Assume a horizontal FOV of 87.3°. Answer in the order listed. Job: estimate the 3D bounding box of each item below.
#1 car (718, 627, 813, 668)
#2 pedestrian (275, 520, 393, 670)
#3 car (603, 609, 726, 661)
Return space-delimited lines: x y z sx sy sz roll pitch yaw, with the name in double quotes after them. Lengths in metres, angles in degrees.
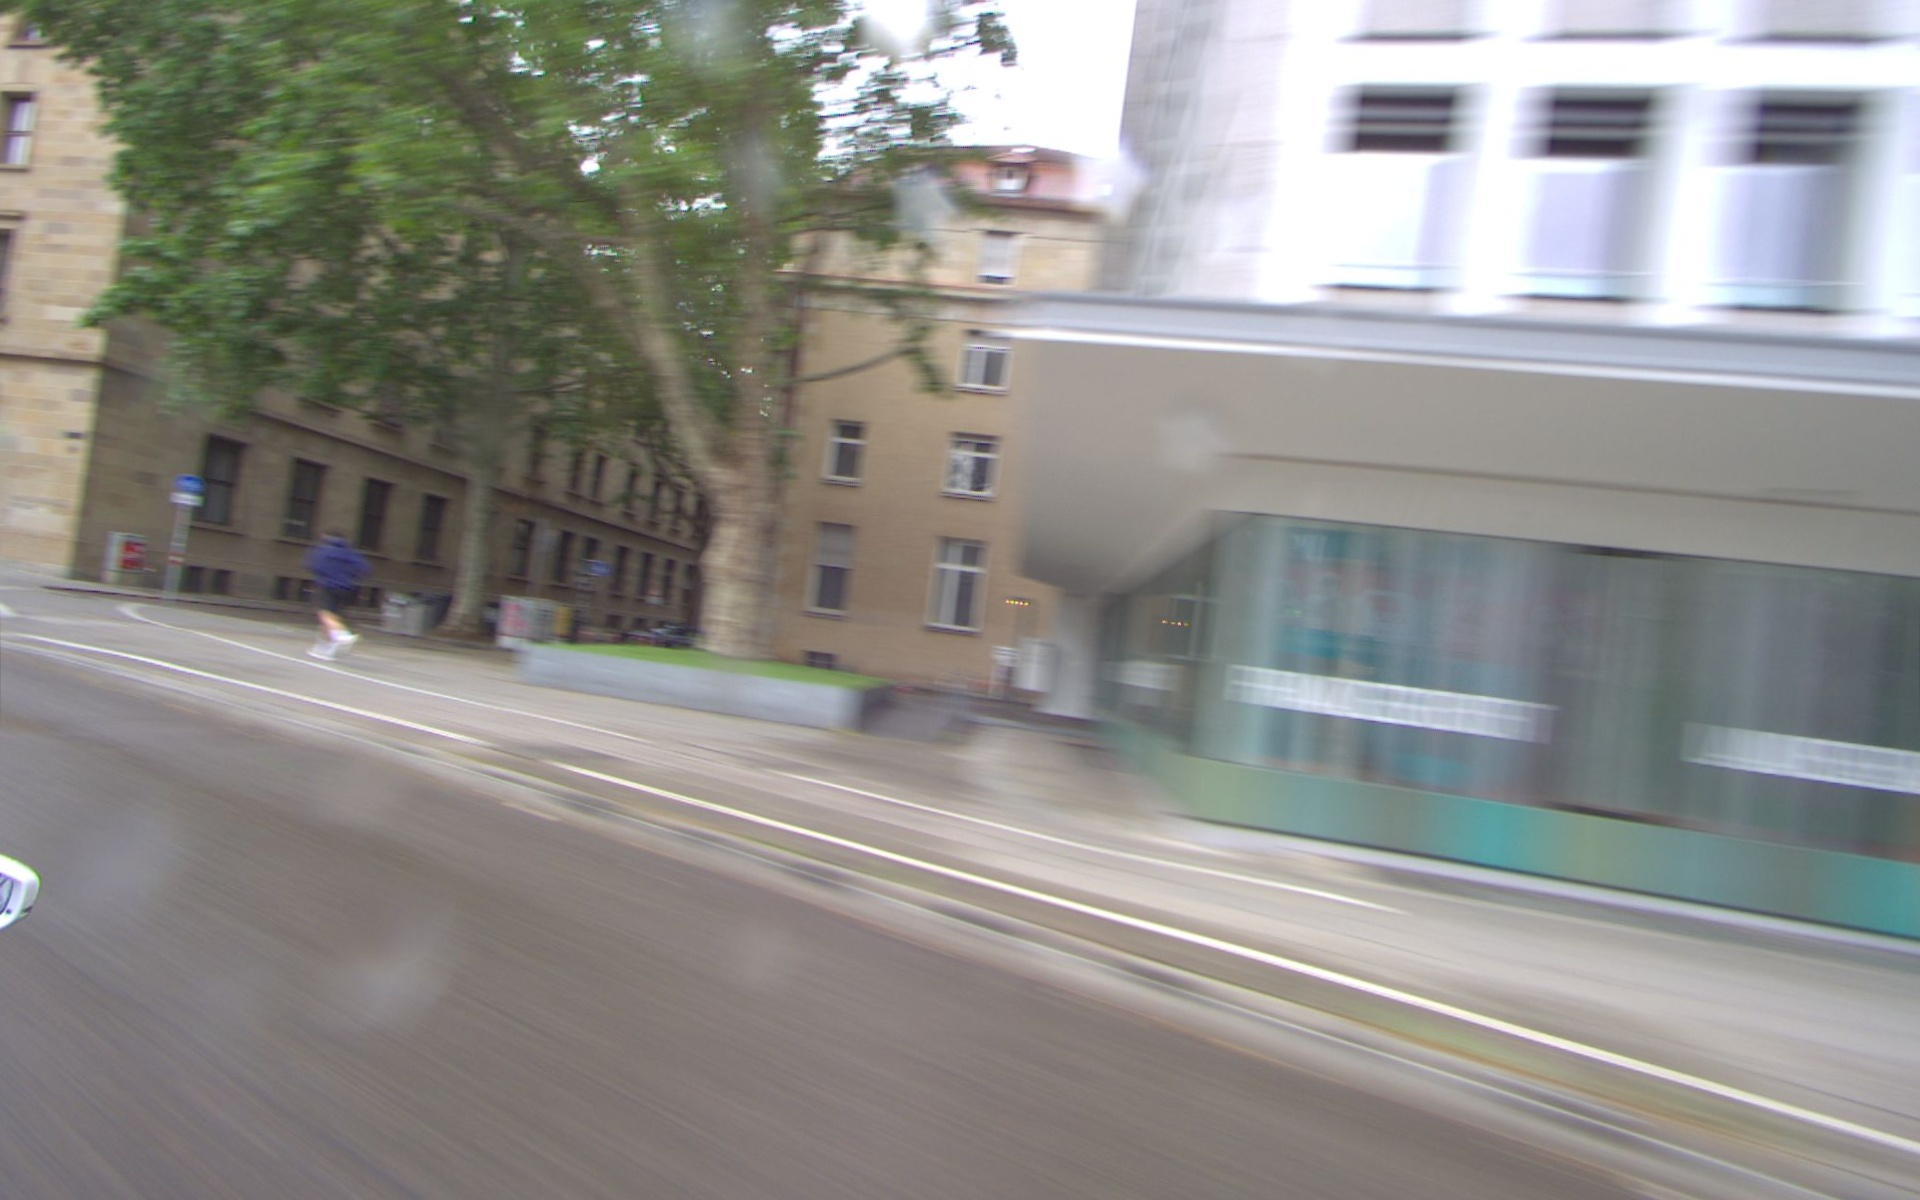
-10.524 2.560 54.563 4.592 1.481 1.889 9 0 3 "car"
-8.116 -0.056 13.056 0.848 1.792 0.781 7 -2 29 "pedestrian"
-12.384 1.465 42.323 4.457 1.481 1.890 9 0 6 "car"
